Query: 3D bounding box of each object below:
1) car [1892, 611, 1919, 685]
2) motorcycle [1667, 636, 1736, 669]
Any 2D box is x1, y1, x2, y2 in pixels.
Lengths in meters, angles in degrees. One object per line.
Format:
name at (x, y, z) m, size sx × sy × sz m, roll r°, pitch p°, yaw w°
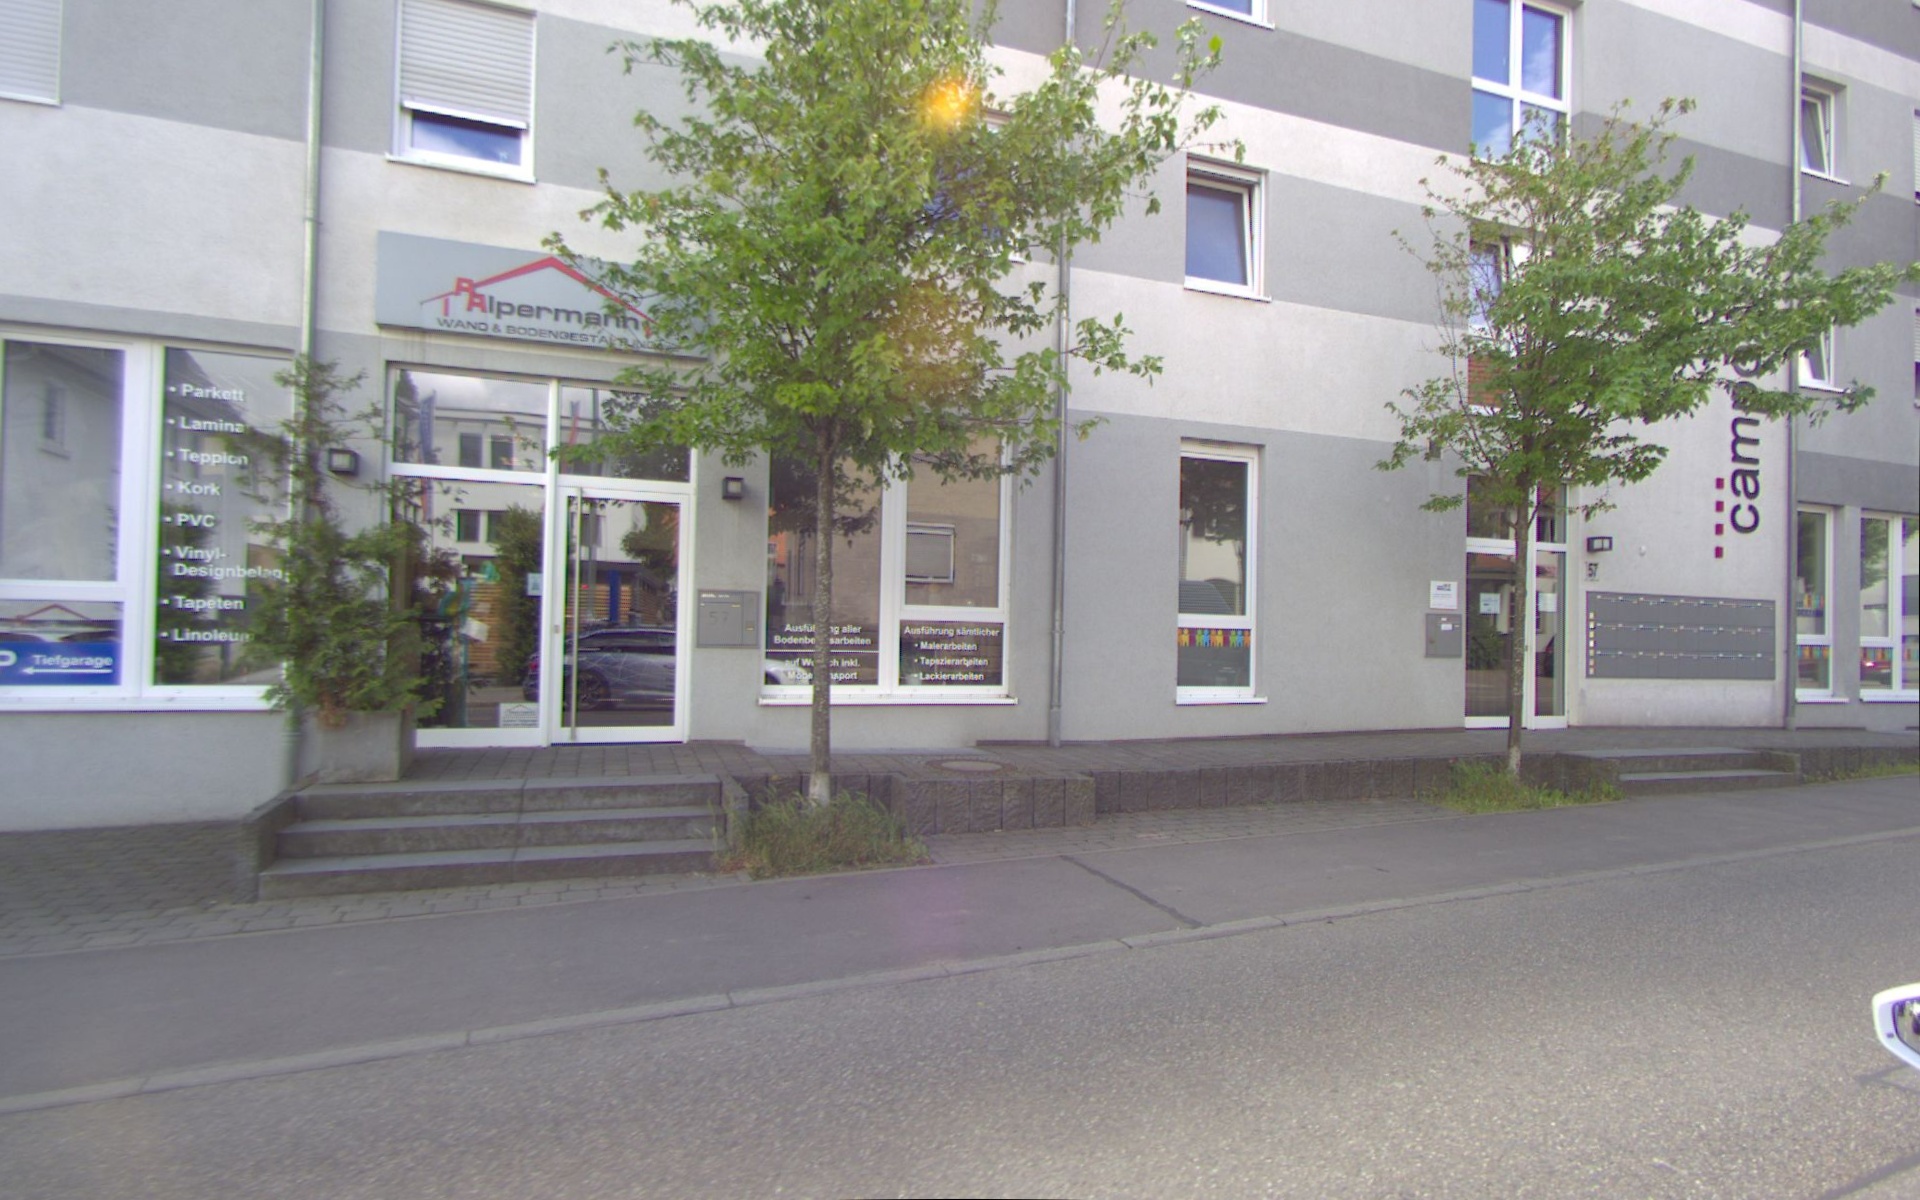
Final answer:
car at (27.920, 1.335, 26.401) m, size 2.067 × 2.036 × 4.607 m, roll 1°, pitch 0°, yaw -25°
motorcycle at (24.466, 1.722, 33.131) m, size 2.316 × 1.018 × 1.193 m, roll 1°, pitch -1°, yaw -36°
